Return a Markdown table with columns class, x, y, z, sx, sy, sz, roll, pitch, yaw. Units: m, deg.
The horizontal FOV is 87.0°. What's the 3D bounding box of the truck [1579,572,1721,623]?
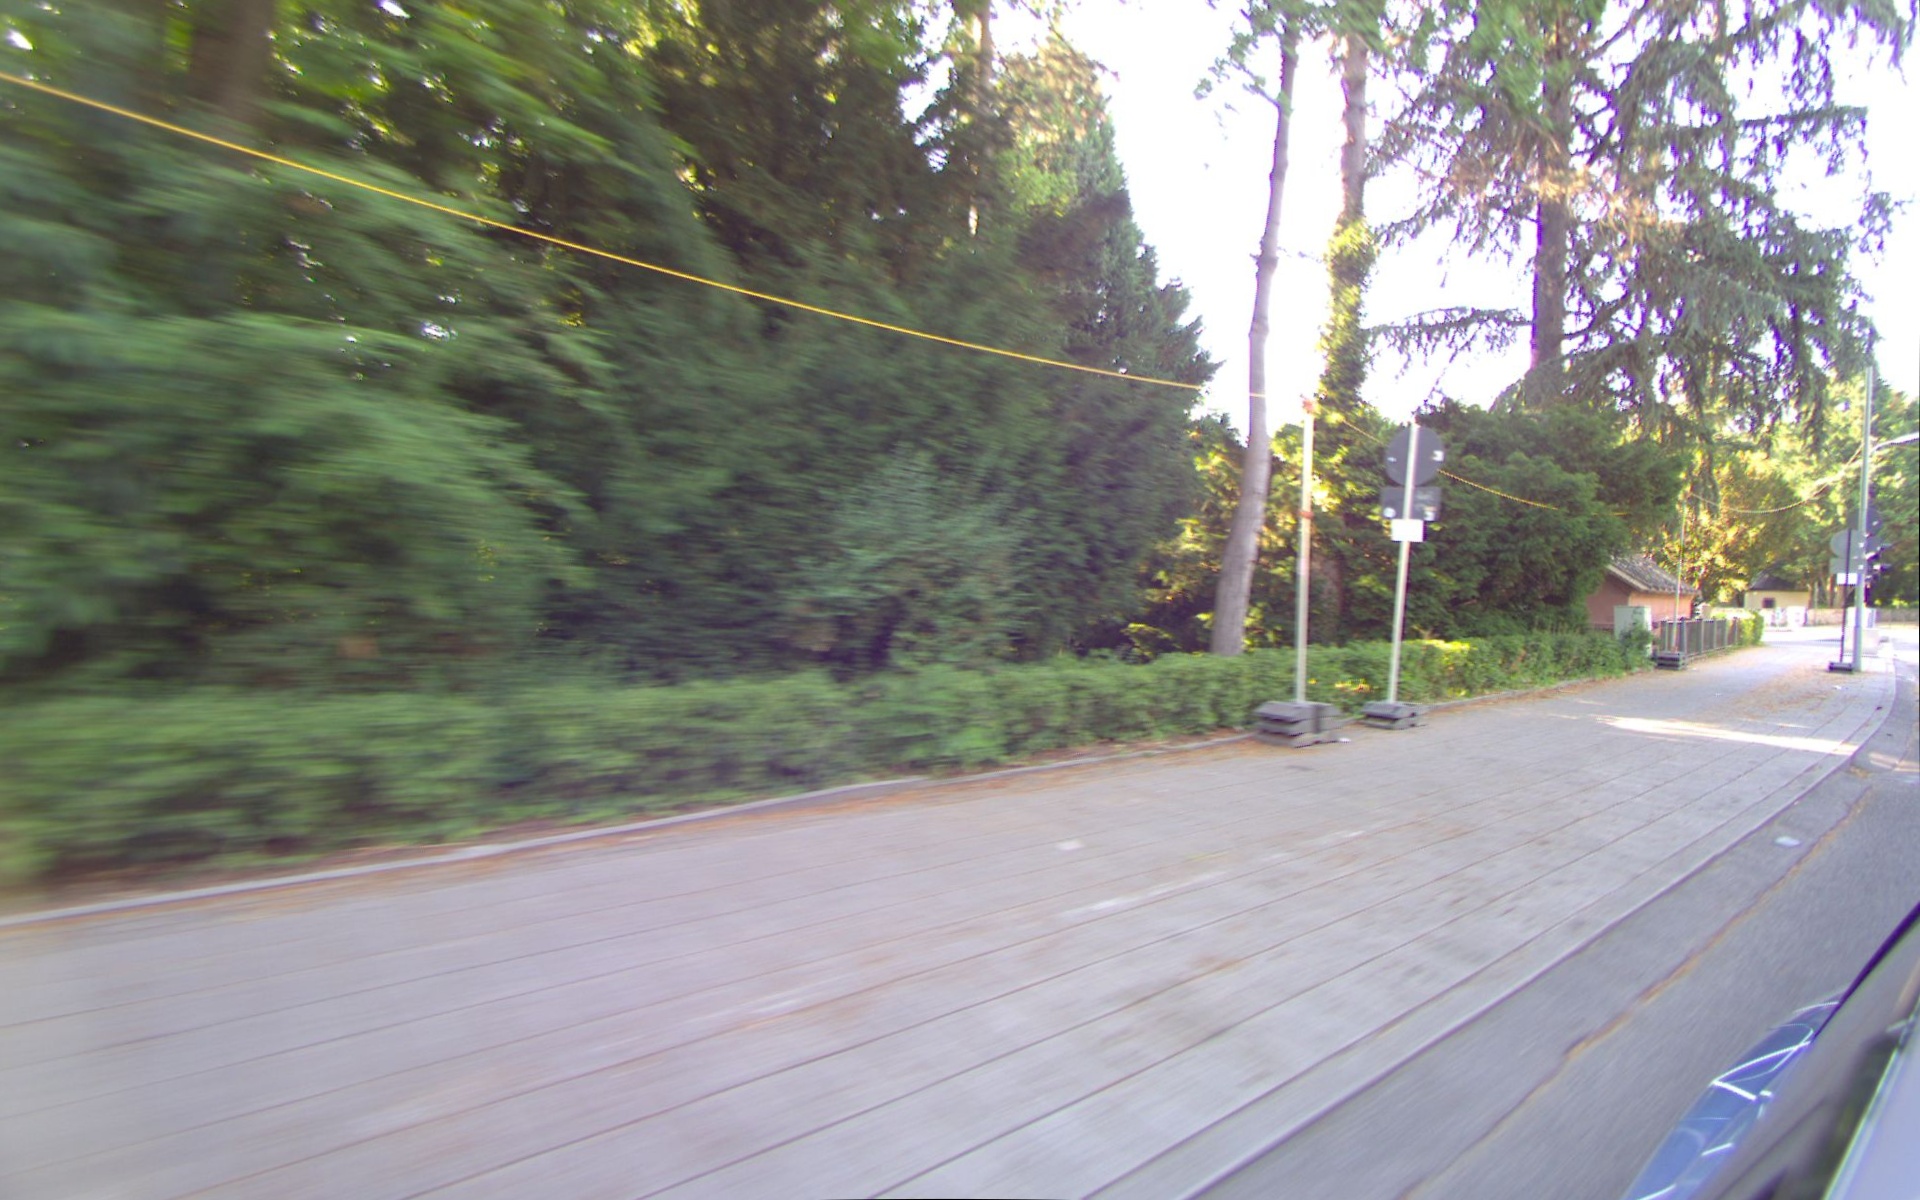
| class | x | y | z | sx | sy | sz | roll | pitch | yaw |
| --- | --- | --- | --- | --- | --- | --- | --- | --- | --- |
| truck | 40.075 | -0.127 | 59.038 | 2.322 | 2.787 | 6.521 | 0 | 0 | -25 |
